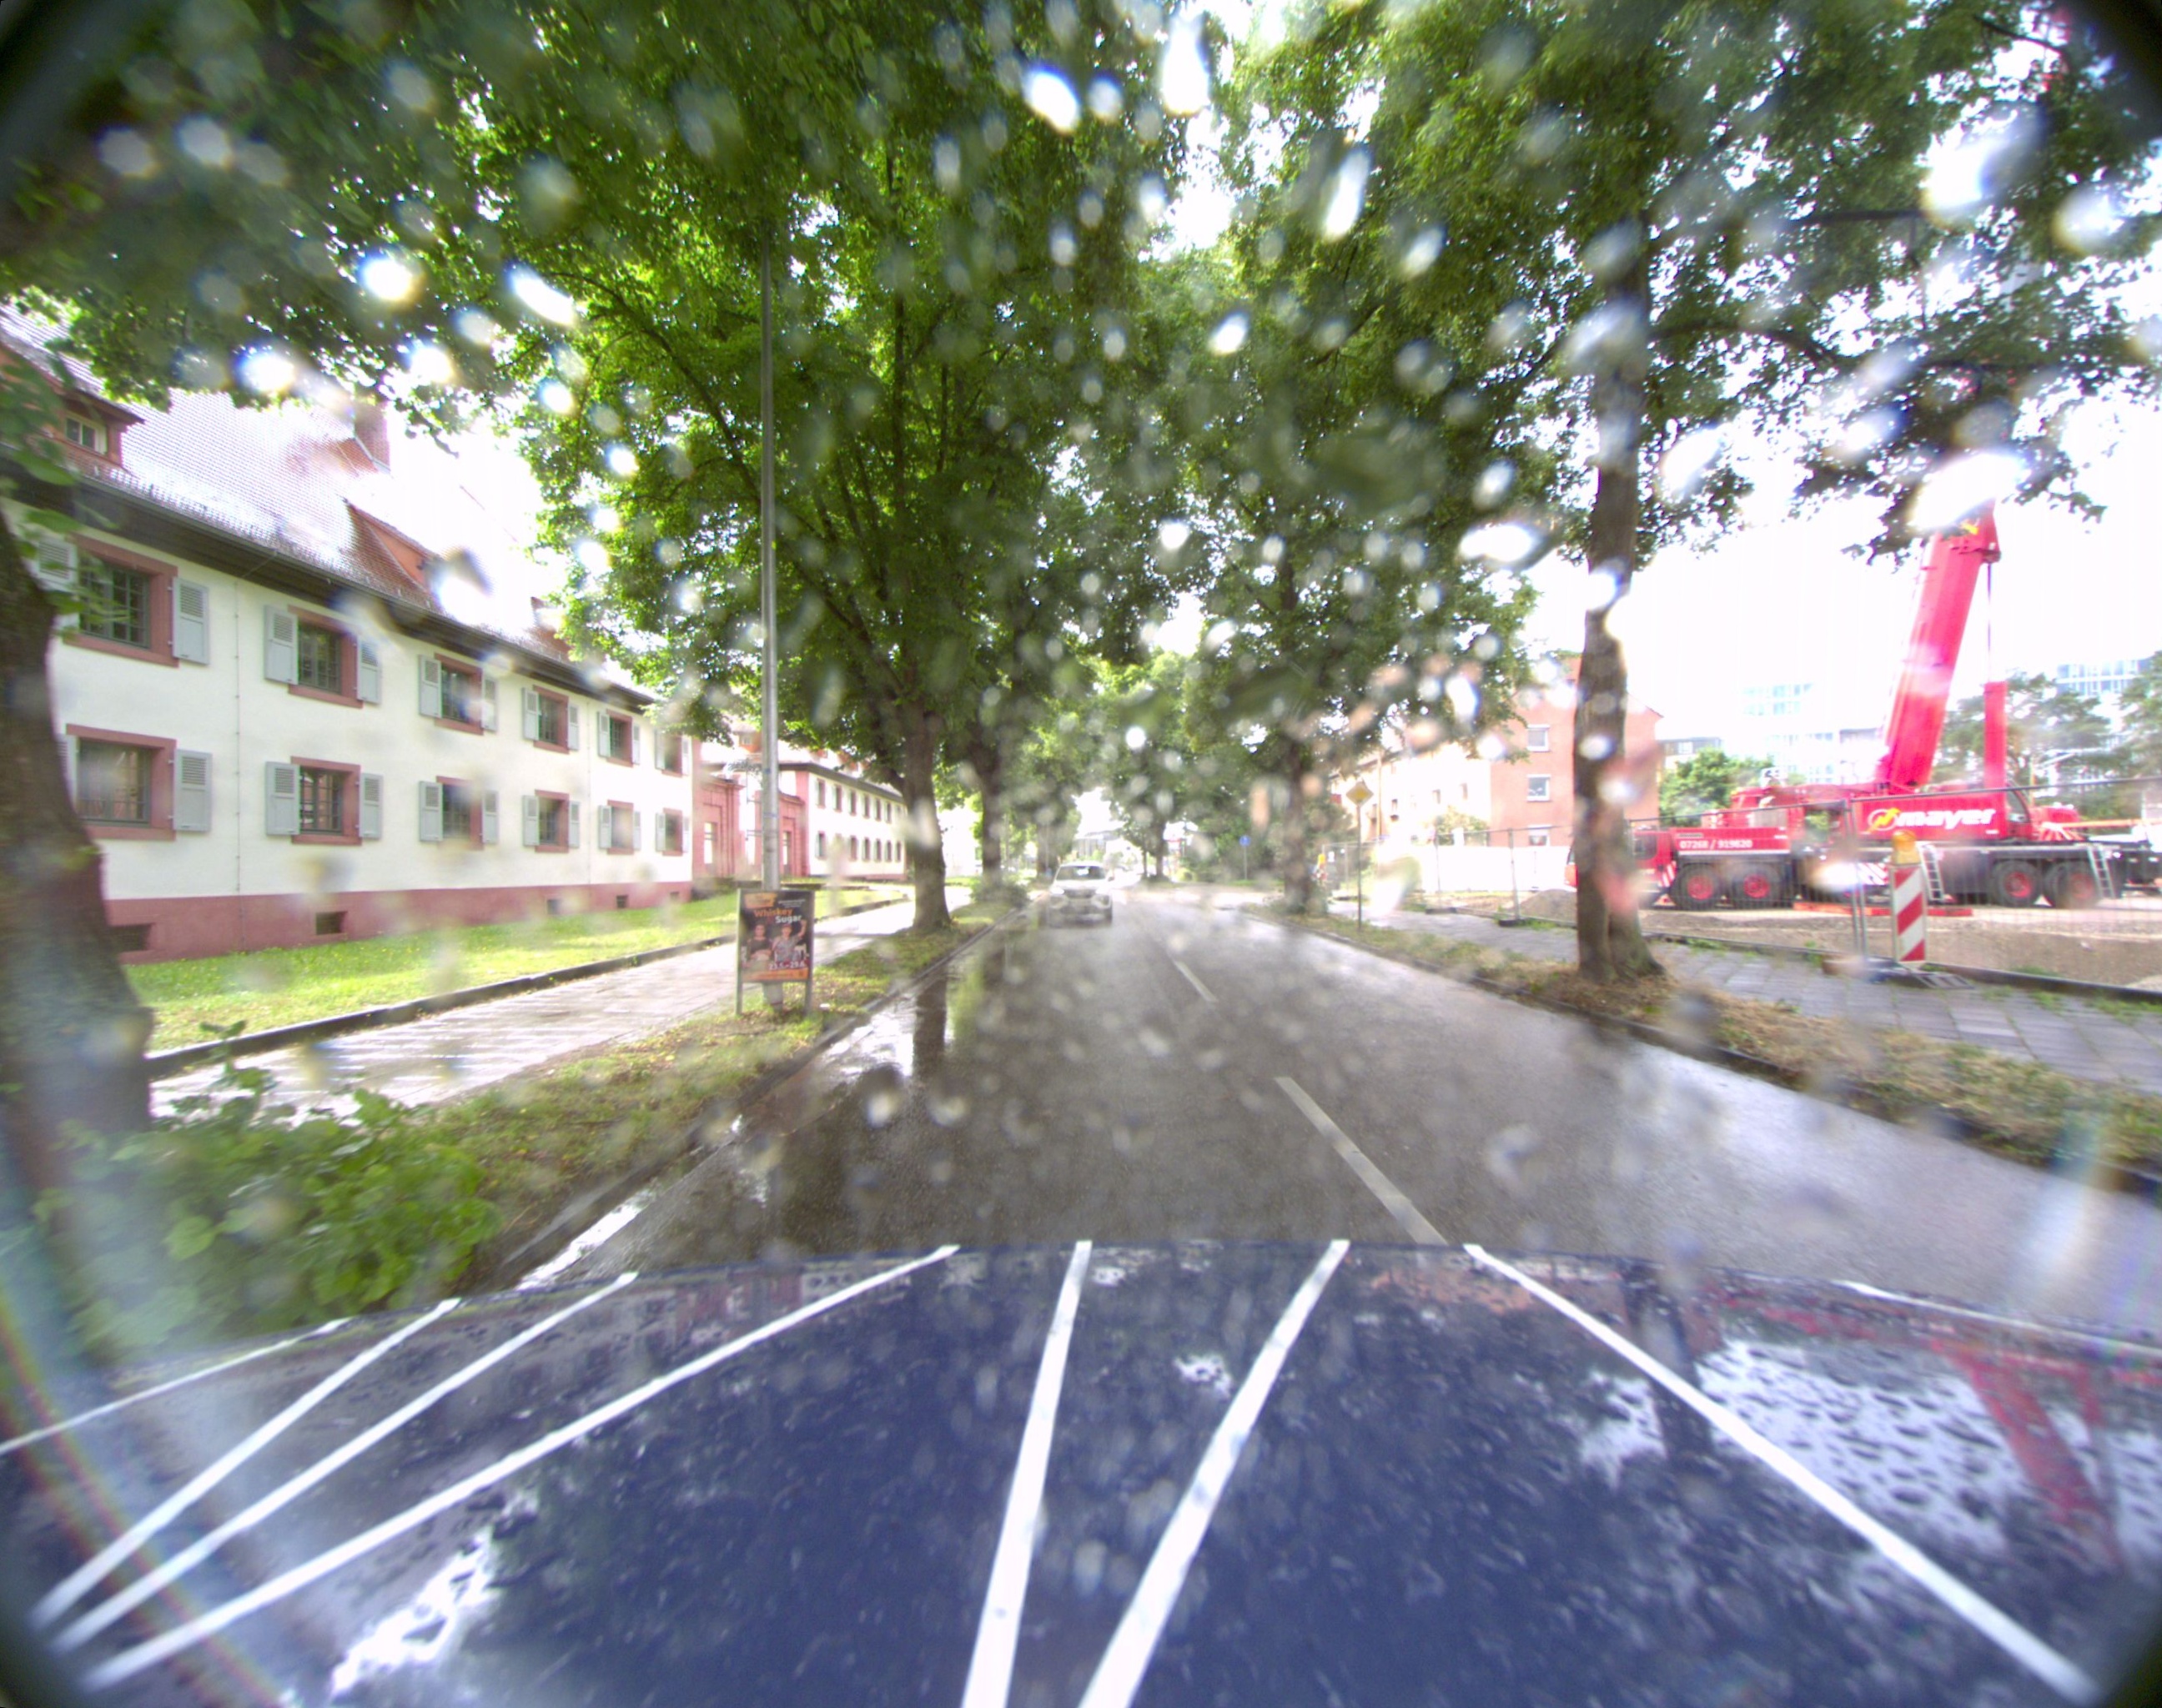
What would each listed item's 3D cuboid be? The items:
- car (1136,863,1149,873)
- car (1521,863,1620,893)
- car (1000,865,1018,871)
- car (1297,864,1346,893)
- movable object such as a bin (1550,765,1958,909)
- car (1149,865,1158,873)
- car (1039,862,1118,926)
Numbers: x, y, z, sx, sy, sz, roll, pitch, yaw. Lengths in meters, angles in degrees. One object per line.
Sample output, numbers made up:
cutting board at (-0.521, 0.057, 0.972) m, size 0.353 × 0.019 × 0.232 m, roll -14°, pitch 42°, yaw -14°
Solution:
car at (10.229, 2.326, 126.784) m, size 1.891 × 1.703 × 4.230 m, roll 0°, pitch -1°, yaw 1°
car at (24.297, 1.186, 37.797) m, size 4.067 × 1.404 × 1.726 m, roll 0°, pitch 0°, yaw -11°
car at (-15.000, 2.935, 158.526) m, size 3.451 × 1.229 × 1.496 m, roll -1°, pitch -1°, yaw 21°
car at (13.514, 1.330, 42.908) m, size 1.628 × 1.412 × 3.870 m, roll -2°, pitch 1°, yaw 2°
movable object such as a bin at (21.182, -0.458, 24.503) m, size 9.834 × 4.090 × 3.367 m, roll -1°, pitch -1°, yaw 3°
car at (13.711, 2.785, 143.839) m, size 1.683 × 1.499 × 3.795 m, roll 0°, pitch -1°, yaw 4°
car at (0.037, 0.974, 19.878) m, size 1.736 × 1.524 × 3.618 m, roll -1°, pitch 0°, yaw 5°
